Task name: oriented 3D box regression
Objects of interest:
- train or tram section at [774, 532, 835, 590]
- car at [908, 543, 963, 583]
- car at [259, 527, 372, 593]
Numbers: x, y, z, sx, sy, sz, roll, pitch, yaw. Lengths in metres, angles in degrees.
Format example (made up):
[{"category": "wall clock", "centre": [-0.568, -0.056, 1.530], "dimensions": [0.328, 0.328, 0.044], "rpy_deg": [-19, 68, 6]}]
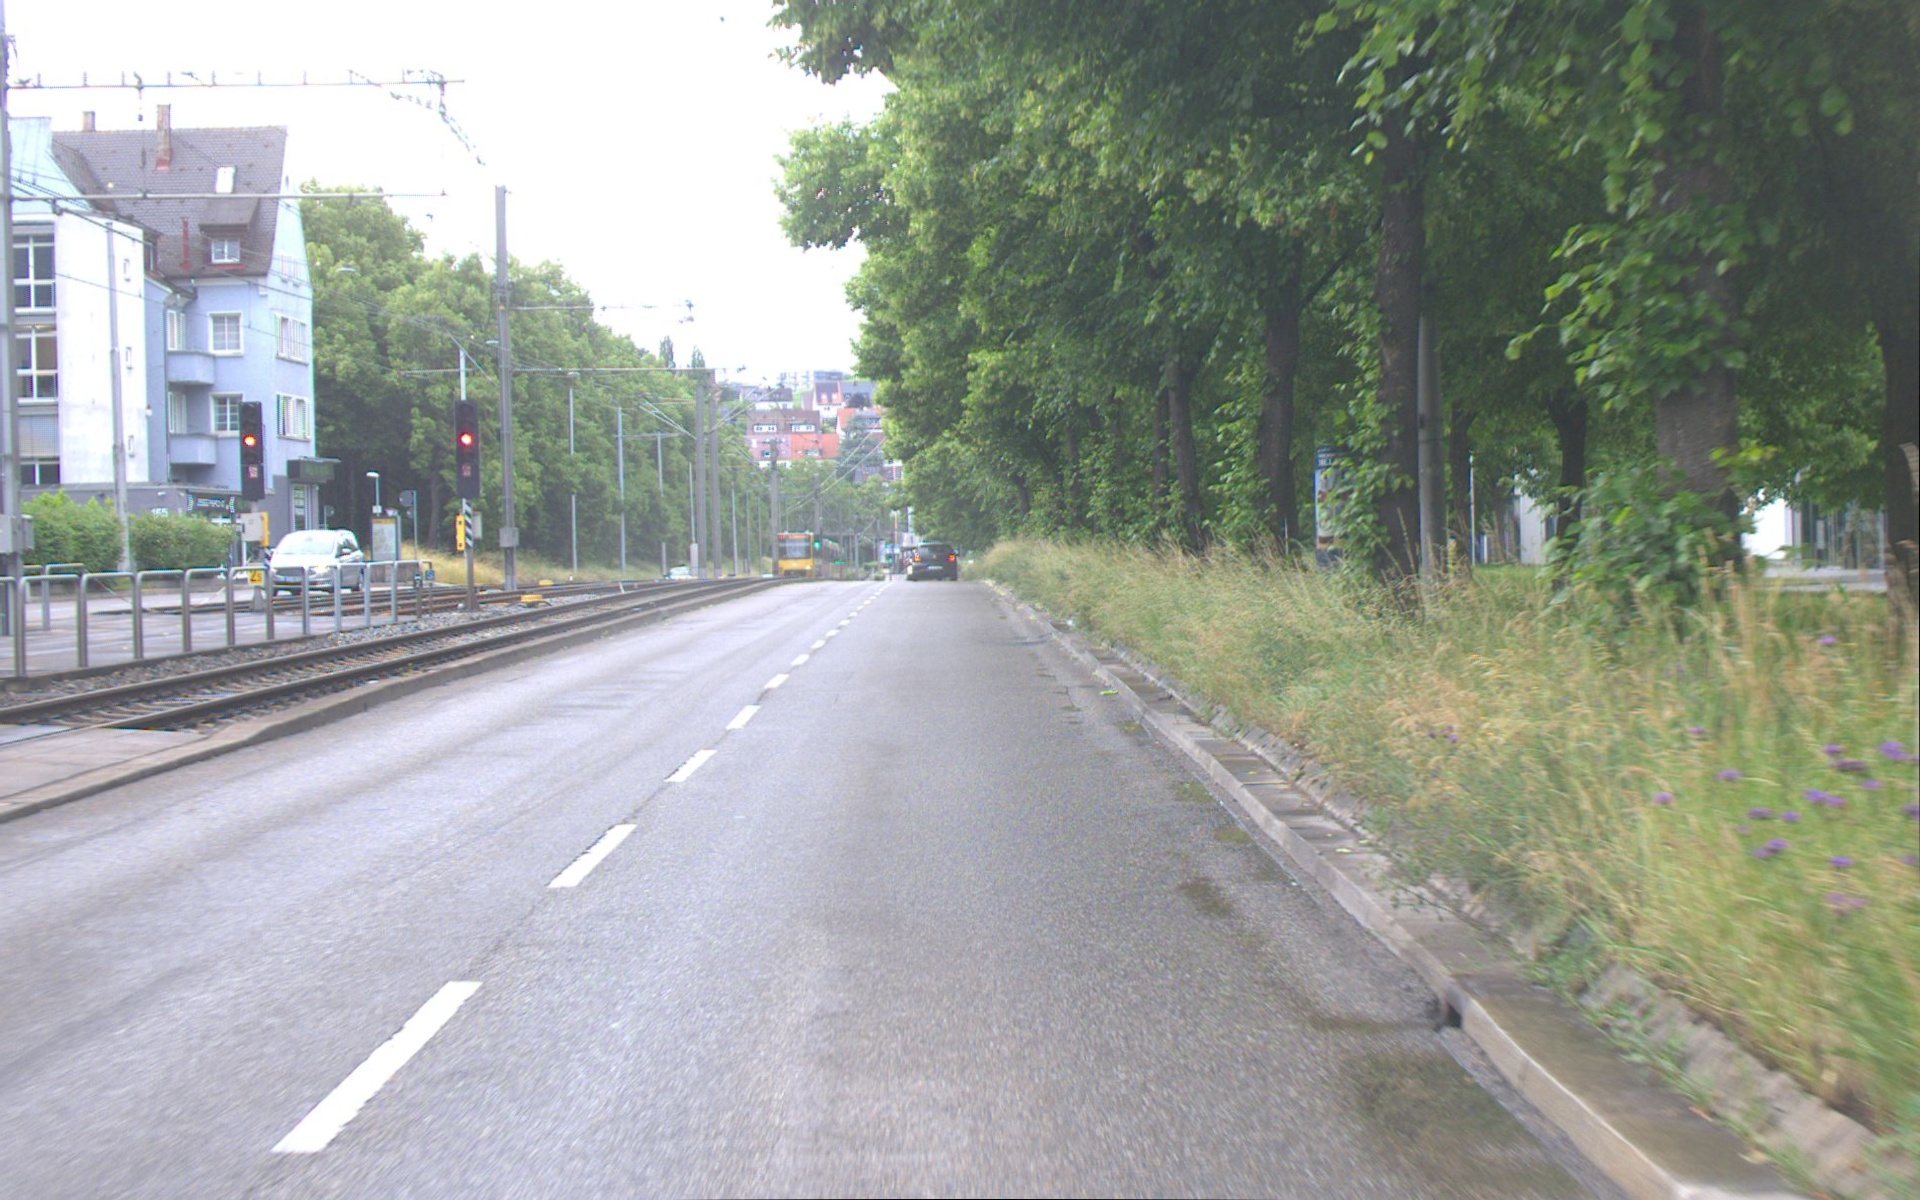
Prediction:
[{"category": "train or tram section", "centre": [-10.766, -2.635, 239.269], "dimensions": [3.214, 3.783, 14.788], "rpy_deg": [-1, 0, 1]}, {"category": "car", "centre": [-0.900, -1.371, 126.593], "dimensions": [1.982, 1.436, 4.474], "rpy_deg": [-1, 1, 0]}, {"category": "car", "centre": [-16.569, -1.024, 88.585], "dimensions": [1.902, 1.639, 4.884], "rpy_deg": [-1, 1, 1]}]
